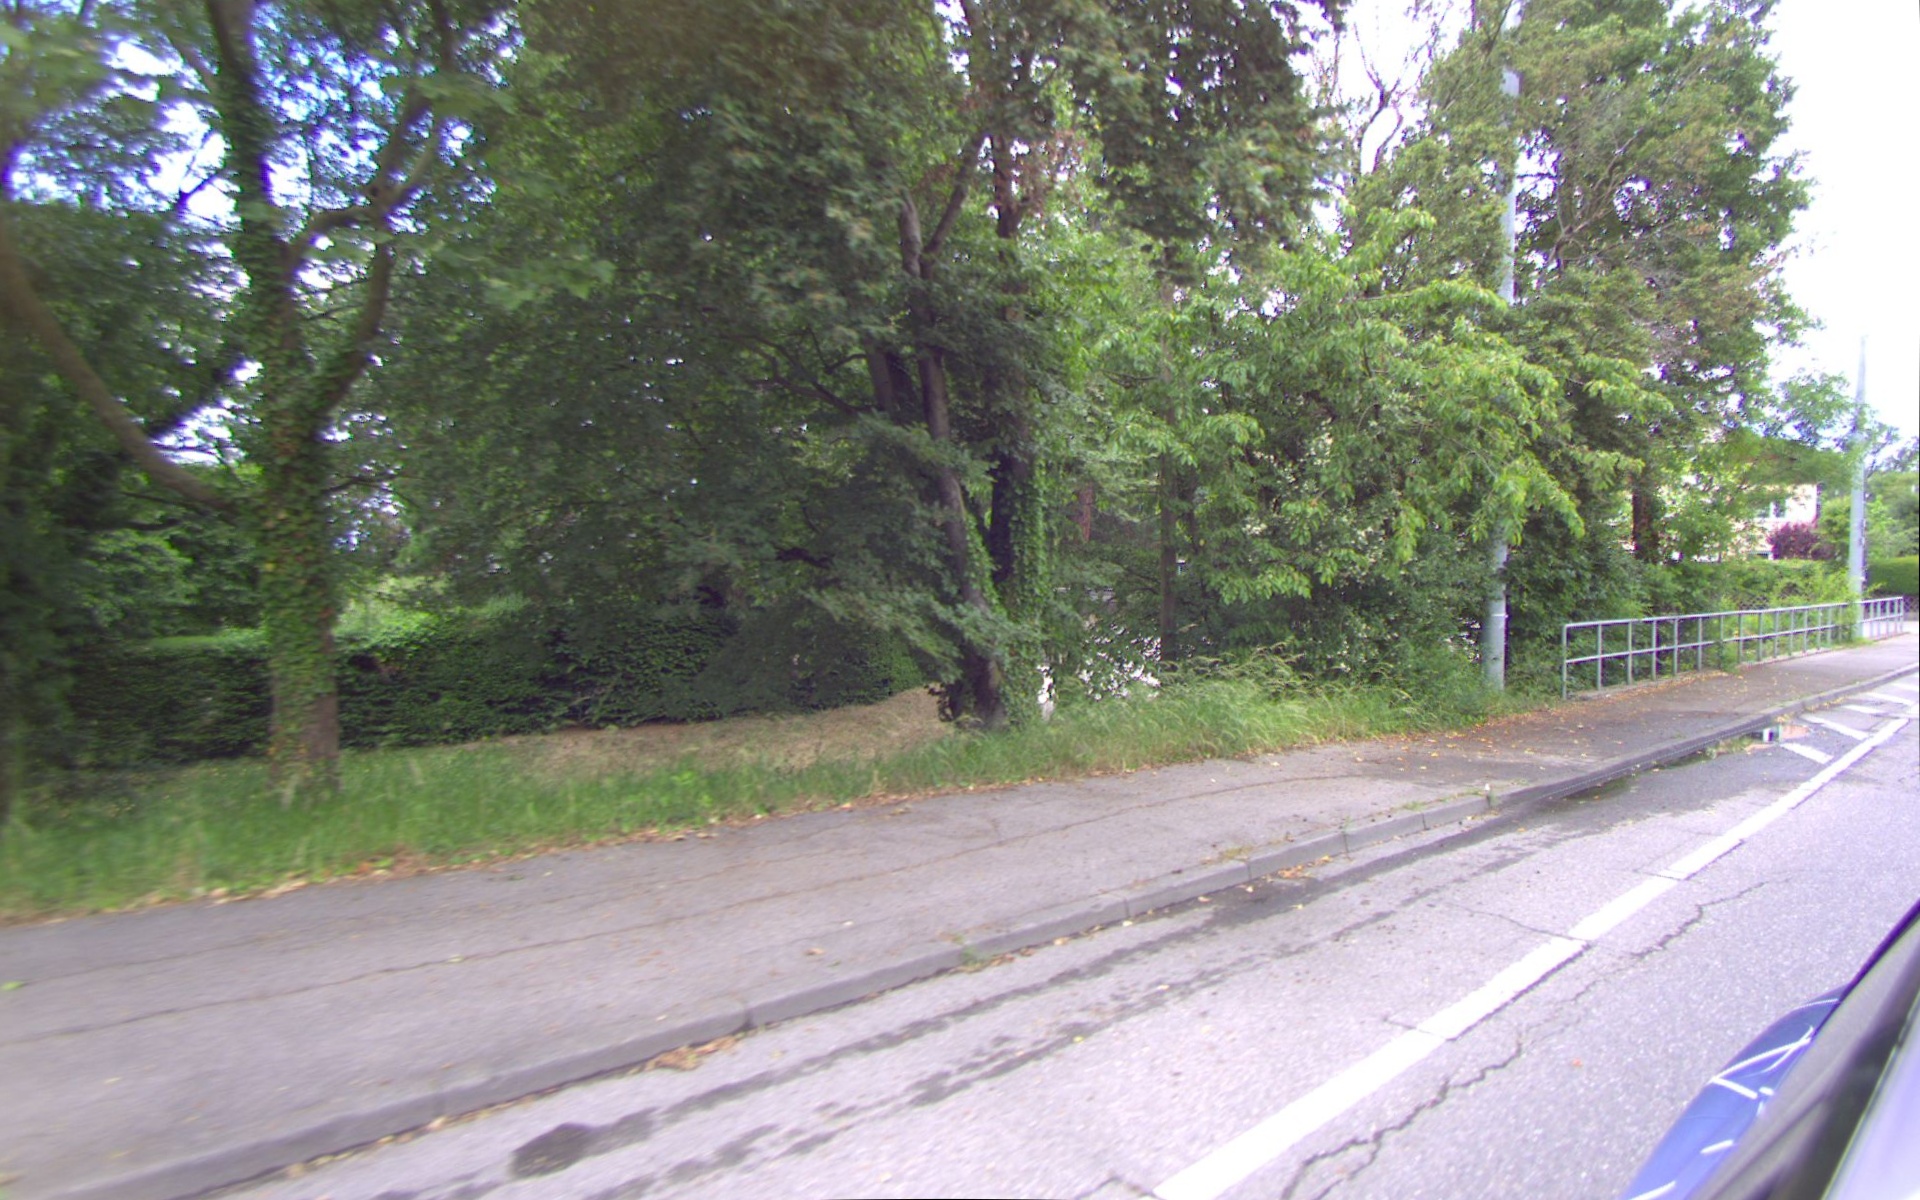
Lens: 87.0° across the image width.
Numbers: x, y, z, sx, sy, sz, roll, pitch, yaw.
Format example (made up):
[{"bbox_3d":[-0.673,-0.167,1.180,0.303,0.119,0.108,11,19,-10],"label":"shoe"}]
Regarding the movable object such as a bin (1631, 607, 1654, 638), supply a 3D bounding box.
[{"bbox_3d":[23.528,0.775,34.896,0.534,0.986,0.506,-2,3,23],"label":"movable object such as a bin"}]
